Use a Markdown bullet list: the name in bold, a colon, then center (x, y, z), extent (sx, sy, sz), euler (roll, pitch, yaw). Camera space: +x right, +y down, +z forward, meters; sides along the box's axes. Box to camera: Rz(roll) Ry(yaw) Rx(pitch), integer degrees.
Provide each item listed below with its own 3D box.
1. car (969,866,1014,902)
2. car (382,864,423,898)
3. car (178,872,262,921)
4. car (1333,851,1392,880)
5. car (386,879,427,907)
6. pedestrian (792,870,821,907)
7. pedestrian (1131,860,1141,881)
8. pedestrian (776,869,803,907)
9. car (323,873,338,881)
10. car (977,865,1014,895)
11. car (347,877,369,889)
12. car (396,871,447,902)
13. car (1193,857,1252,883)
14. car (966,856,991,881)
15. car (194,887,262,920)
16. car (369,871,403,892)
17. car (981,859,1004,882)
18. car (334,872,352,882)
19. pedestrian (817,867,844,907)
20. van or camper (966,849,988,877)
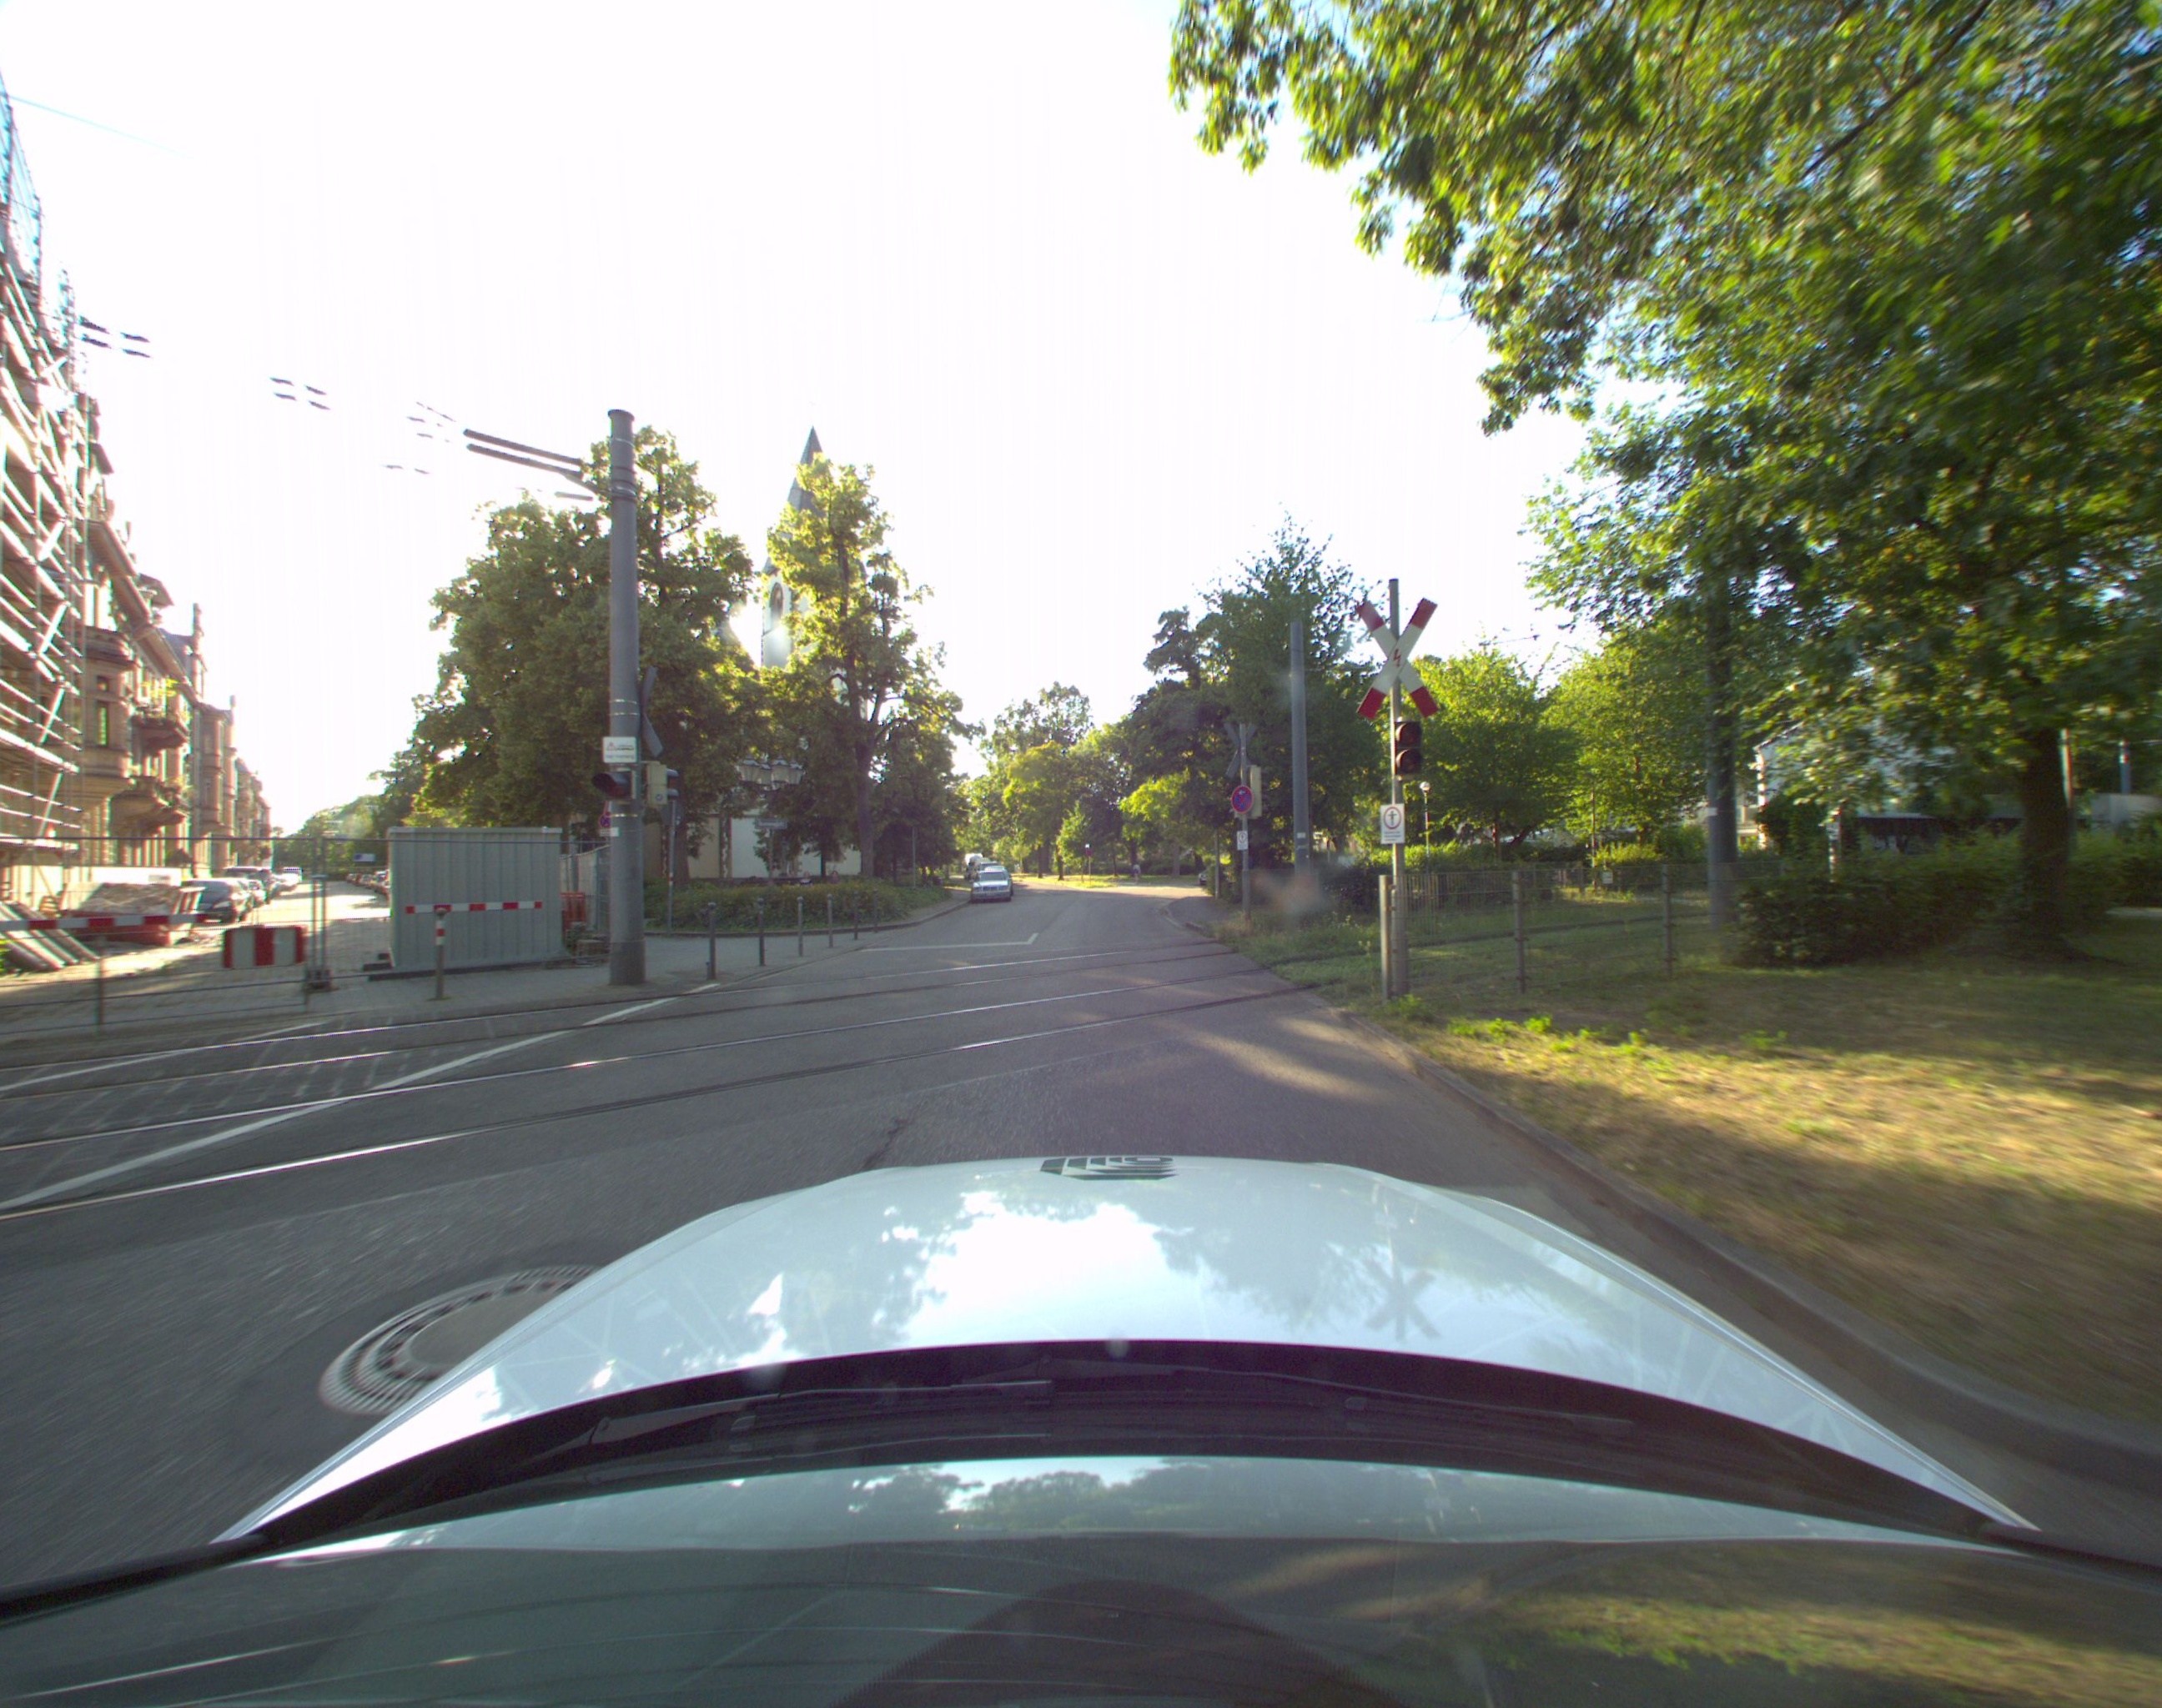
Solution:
- **car**: center (-4.023, 1.316, 37.211), extent (1.776, 1.415, 4.491), euler (-3, 0, -4)
- **car**: center (-47.683, 1.855, 57.199), extent (1.903, 2.261, 4.168), euler (0, -1, -45)
- **car**: center (-31.477, 1.494, 29.882), extent (1.923, 1.655, 4.168), euler (0, -1, -44)
- **car**: center (20.252, 0.785, 58.482), extent (1.934, 2.014, 5.183), euler (-2, -1, 45)
- **car**: center (-43.616, 2.467, 52.718), extent (1.901, 1.655, 4.172), euler (0, -1, -38)
- **pedestrian**: center (-9.196, 1.134, 27.304), extent (0.548, 1.195, 0.886), euler (-1, -1, 9)
- **pedestrian**: center (4.281, 1.283, 63.470), extent (0.770, 1.575, 0.768), euler (-1, -1, 1)
- **pedestrian**: center (-9.781, 1.137, 27.318), extent (0.548, 1.233, 0.726), euler (-1, -1, 9)
- **car**: center (-139.480, 4.270, 151.412), extent (1.903, 1.514, 4.168), euler (0, -1, -45)
- **car**: center (-4.679, 1.362, 44.274), extent (1.823, 1.415, 4.484), euler (-3, 0, -7)
- **car**: center (-93.020, 3.690, 104.728), extent (1.903, 1.514, 4.168), euler (0, -1, -45)
- **car**: center (-38.159, 1.847, 47.080), extent (1.903, 1.655, 4.168), euler (0, -1, -45)
- **car**: center (9.870, 1.104, 56.550), extent (4.345, 1.675, 1.786), euler (0, 1, -43)
- **car**: center (-9.995, 1.401, 78.943), extent (1.853, 2.356, 5.161), euler (-1, -1, -14)
- **car**: center (-38.210, 2.194, 36.580), extent (1.923, 1.278, 4.168), euler (0, -1, -44)
- **car**: center (-58.916, 2.336, 68.973), extent (1.903, 1.655, 4.168), euler (0, -1, -45)
- **car**: center (-7.721, 1.392, 70.735), extent (1.850, 1.946, 4.826), euler (-1, -1, -8)
- **car**: center (-118.820, 3.745, 131.074), extent (1.903, 1.514, 4.168), euler (0, -1, -45)
- **pedestrian**: center (-8.418, 1.111, 27.406), extent (0.548, 1.298, 0.768), euler (-1, -1, 9)
- **van or camper**: center (-11.620, 1.011, 90.444), extent (2.091, 2.908, 6.308), euler (-1, -1, -11)
